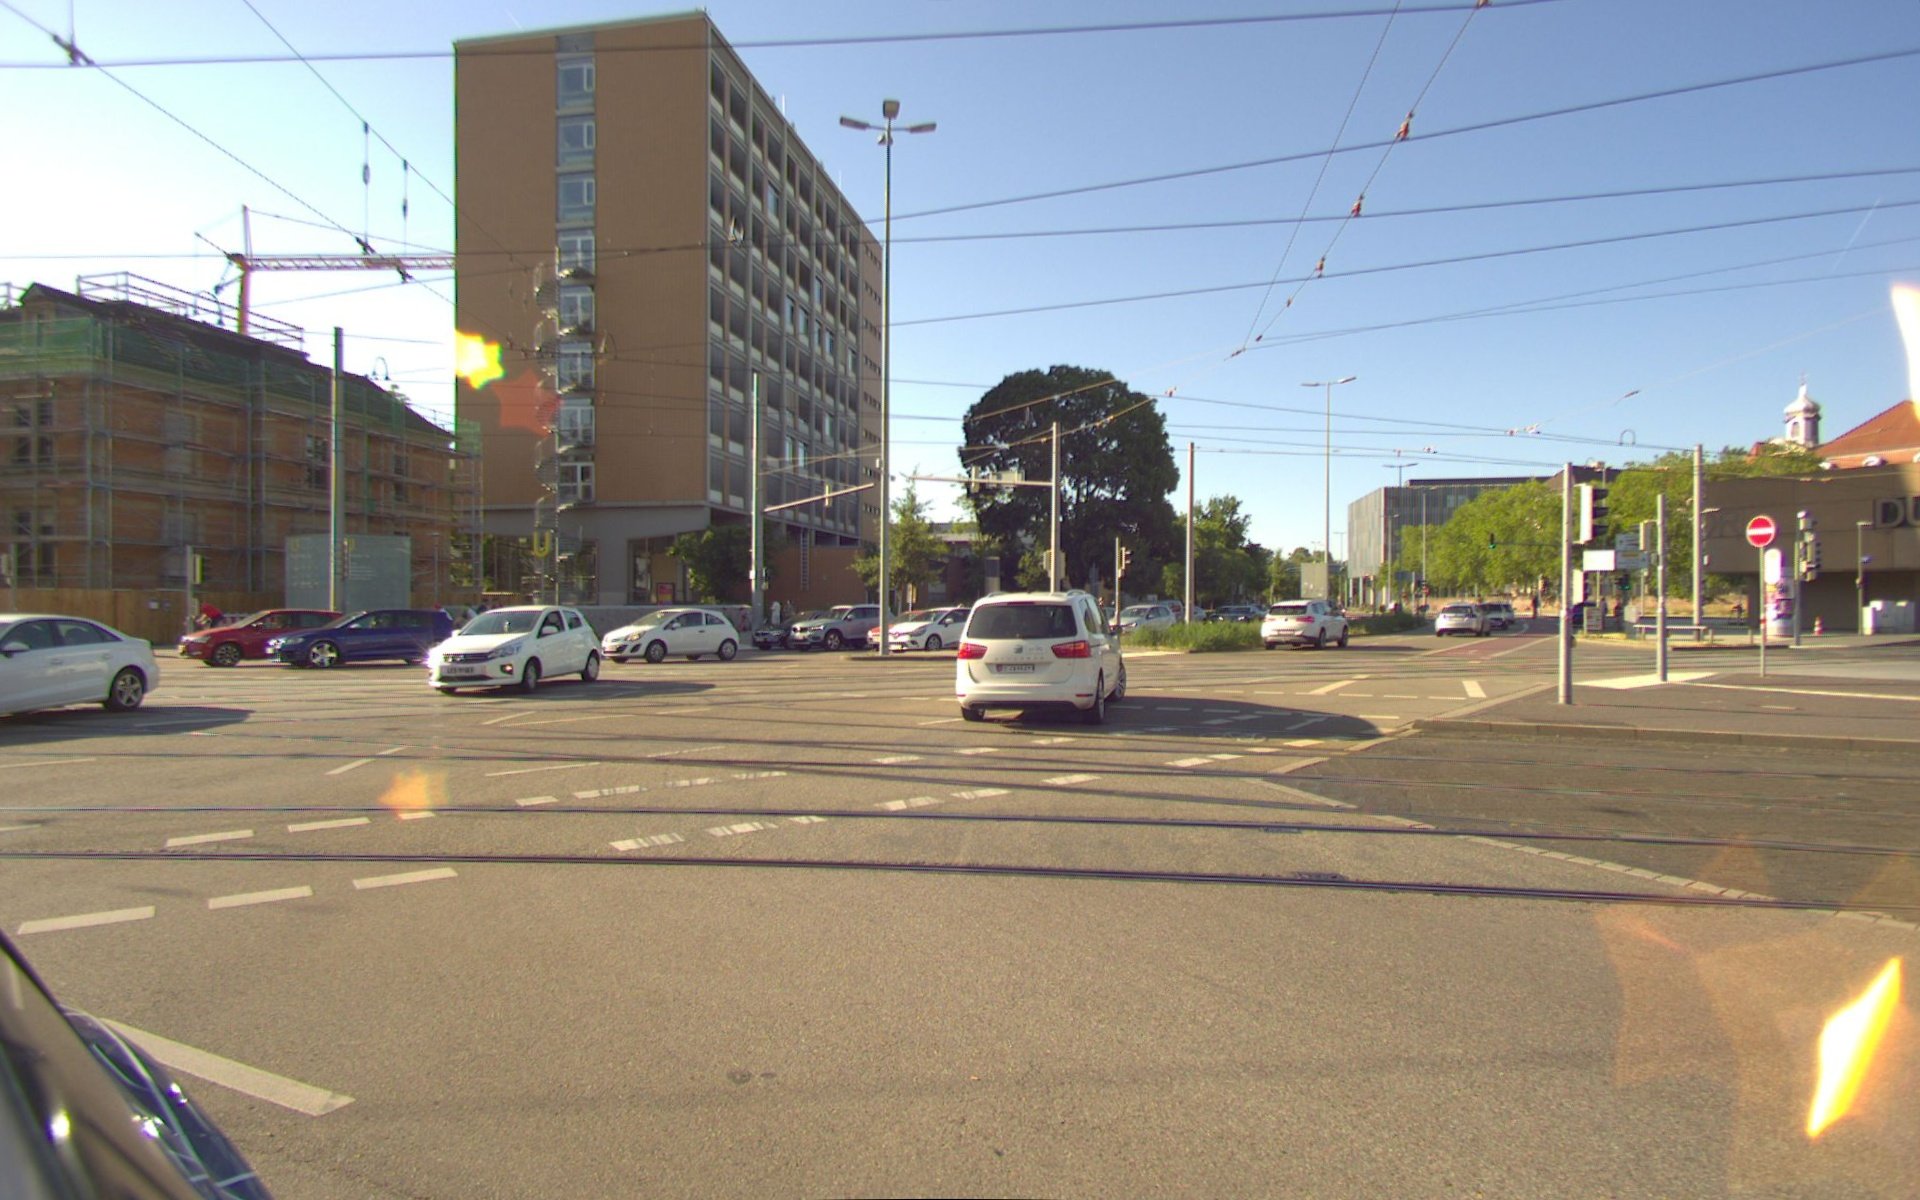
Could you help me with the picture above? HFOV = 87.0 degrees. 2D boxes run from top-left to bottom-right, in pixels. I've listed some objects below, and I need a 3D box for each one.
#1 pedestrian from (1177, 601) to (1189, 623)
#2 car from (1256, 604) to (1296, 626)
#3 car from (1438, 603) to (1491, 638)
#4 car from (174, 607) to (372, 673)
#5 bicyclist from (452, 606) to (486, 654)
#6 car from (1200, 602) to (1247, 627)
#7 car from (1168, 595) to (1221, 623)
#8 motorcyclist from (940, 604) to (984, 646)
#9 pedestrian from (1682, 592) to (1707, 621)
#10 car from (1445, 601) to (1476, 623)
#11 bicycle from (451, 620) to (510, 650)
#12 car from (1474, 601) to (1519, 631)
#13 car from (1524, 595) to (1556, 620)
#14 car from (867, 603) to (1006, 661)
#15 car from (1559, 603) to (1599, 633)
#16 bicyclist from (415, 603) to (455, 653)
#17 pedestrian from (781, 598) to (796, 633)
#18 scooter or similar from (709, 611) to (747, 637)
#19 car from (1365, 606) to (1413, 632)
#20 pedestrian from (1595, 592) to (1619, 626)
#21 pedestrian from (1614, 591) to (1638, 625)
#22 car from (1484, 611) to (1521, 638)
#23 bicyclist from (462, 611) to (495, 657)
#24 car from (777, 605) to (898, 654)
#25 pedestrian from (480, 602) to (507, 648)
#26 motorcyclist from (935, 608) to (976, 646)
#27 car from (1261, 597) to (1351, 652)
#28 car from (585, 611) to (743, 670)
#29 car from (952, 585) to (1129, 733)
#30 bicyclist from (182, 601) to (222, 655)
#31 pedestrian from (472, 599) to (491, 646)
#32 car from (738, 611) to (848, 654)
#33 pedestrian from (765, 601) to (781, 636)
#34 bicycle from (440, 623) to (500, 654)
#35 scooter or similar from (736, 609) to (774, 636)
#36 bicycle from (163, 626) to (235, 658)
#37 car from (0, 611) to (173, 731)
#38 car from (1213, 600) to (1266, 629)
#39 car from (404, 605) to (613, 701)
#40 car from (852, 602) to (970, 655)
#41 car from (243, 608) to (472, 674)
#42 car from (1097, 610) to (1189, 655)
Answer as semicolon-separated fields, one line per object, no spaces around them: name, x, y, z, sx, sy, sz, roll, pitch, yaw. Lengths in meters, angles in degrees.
pedestrian;16.862;0.905;76.520;0.565;1.674;0.585;-4;-3;39
car;25.896;1.198;82.846;1.821;1.741;3.949;-1;-1;38
car;22.363;0.888;44.760;1.840;1.434;4.387;1;0;30
car;-17.903;1.023;26.488;1.756;1.475;3.962;-4;-2;43
bicyclist;-17.110;1.035;35.279;0.999;1.599;0.696;2;1;-27
car;18.589;0.999;71.234;1.821;1.741;3.949;-1;-1;38
car;15.105;0.553;65.150;1.821;1.741;3.949;-1;-1;38
motorcyclist;0.082;1.053;42.223;1.433;1.680;1.119;0;-3;-45
pedestrian;42.202;0.378;58.147;0.799;1.580;1.171;-3;-3;21
car;41.402;0.989;83.615;1.852;1.643;3.829;-5;-3;32
bicycle;-17.311;1.257;36.590;1.847;0.977;0.714;2;1;-23
car;30.271;0.890;57.045;1.718;1.643;3.824;-2;-2;35
car;42.608;0.565;74.361;1.852;1.643;3.830;-5;-3;30
car;-0.684;0.952;32.139;4.220;1.689;2.001;0;0;-45
car;36.577;1.069;59.782;1.858;1.643;3.994;-5;-3;31
bicyclist;-17.269;0.908;33.295;1.001;1.599;0.695;2;1;-40
pedestrian;-8.323;0.762;49.145;0.426;1.648;0.499;-4;-3;32
scooter or similar;-11.478;1.194;50.059;1.682;1.256;0.800;-2;-2;-3
car;29.023;1.279;68.390;1.997;1.689;4.228;0;0;38
pedestrian;35.236;0.507;55.131;0.799;1.782;0.956;-3;-3;21
pedestrian;36.051;0.464;54.795;0.799;1.782;0.966;-3;-3;21
car;35.993;1.623;67.100;1.853;1.643;3.828;-3;-2;32
bicyclist;-17.389;1.212;36.557;0.999;1.599;0.696;2;1;-23
car;-4.373;1.044;36.490;2.000;1.619;3.942;-3;-1;44
pedestrian;-17.918;0.945;38.878;0.621;1.752;0.724;1;0;35
motorcyclist;-0.217;1.214;45.855;1.433;1.680;1.119;0;-3;-45
car;12.002;0.811;34.891;1.936;1.760;4.571;0;0;32
car;-8.032;1.049;27.703;1.782;1.475;3.865;0;0;38
car;1.307;0.716;14.344;1.922;1.747;4.446;0;0;12
bicyclist;-25.048;0.927;33.436;1.000;1.721;0.696;2;1;-37
pedestrian;-18.098;0.835;38.288;0.611;1.752;0.668;1;0;-24
car;-6.338;1.196;38.759;1.756;1.475;3.964;0;1;41
pedestrian;-9.371;0.922;50.587;0.614;1.724;0.487;-1;-3;-31
bicycle;-17.095;1.348;35.298;1.847;0.977;0.714;2;1;-27
scooter or similar;-10.420;1.148;51.538;1.798;1.256;0.802;-1;-3;-17
bicycle;-25.095;1.375;33.415;1.849;0.977;0.714;2;1;-36
car;-12.646;0.890;12.901;1.801;1.398;4.458;0;0;0
car;17.649;0.901;63.826;1.821;1.741;3.949;-1;-1;38
car;-7.964;0.862;18.260;1.701;1.503;3.862;0;0;7
car;-1.674;0.991;35.484;1.998;1.697;3.948;-4;-3;39
car;-14.903;0.986;25.251;1.817;1.504;4.590;-3;-3;41
car;7.481;1.259;41.135;1.997;1.689;4.228;0;0;38
